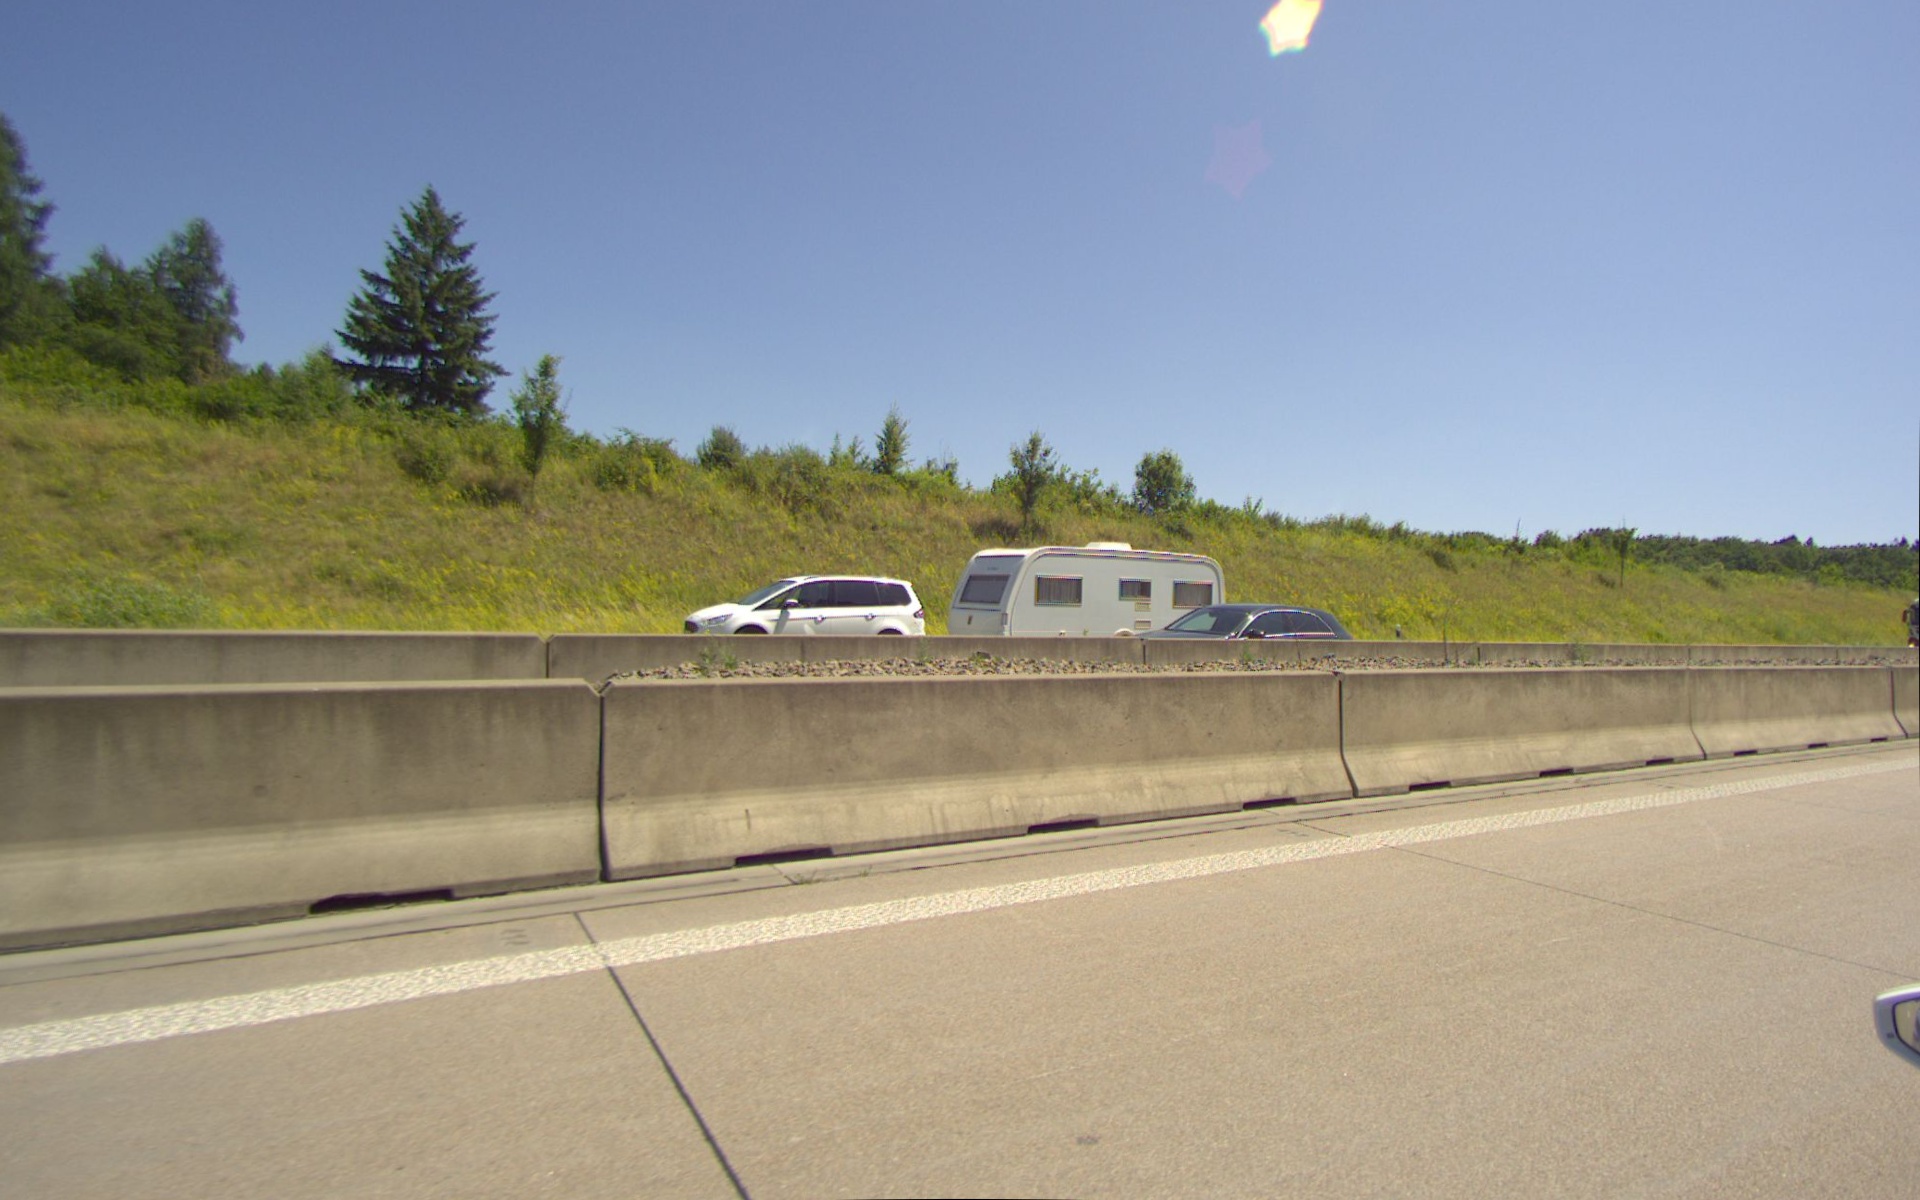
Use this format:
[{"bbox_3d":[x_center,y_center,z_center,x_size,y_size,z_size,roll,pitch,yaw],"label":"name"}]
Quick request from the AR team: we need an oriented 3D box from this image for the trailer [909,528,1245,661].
[{"bbox_3d":[2.846,-0.036,23.285,7.690,2.666,2.593,2,1,-30],"label":"trailer"}]

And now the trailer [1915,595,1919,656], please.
[{"bbox_3d":[58.694,1.658,58.004,8.853,3.459,2.711,3,1,-31],"label":"trailer"}]

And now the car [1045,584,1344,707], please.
[{"bbox_3d":[3.446,0.626,14.679,3.953,1.539,1.984,2,1,-30],"label":"car"}]

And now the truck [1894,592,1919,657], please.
[{"bbox_3d":[54.083,1.431,55.222,4.461,3.459,2.711,2,1,-31],"label":"truck"}]

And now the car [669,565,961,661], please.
[{"bbox_3d":[-2.782,0.284,19.776,5.311,1.682,1.984,2,1,-30],"label":"car"}]
